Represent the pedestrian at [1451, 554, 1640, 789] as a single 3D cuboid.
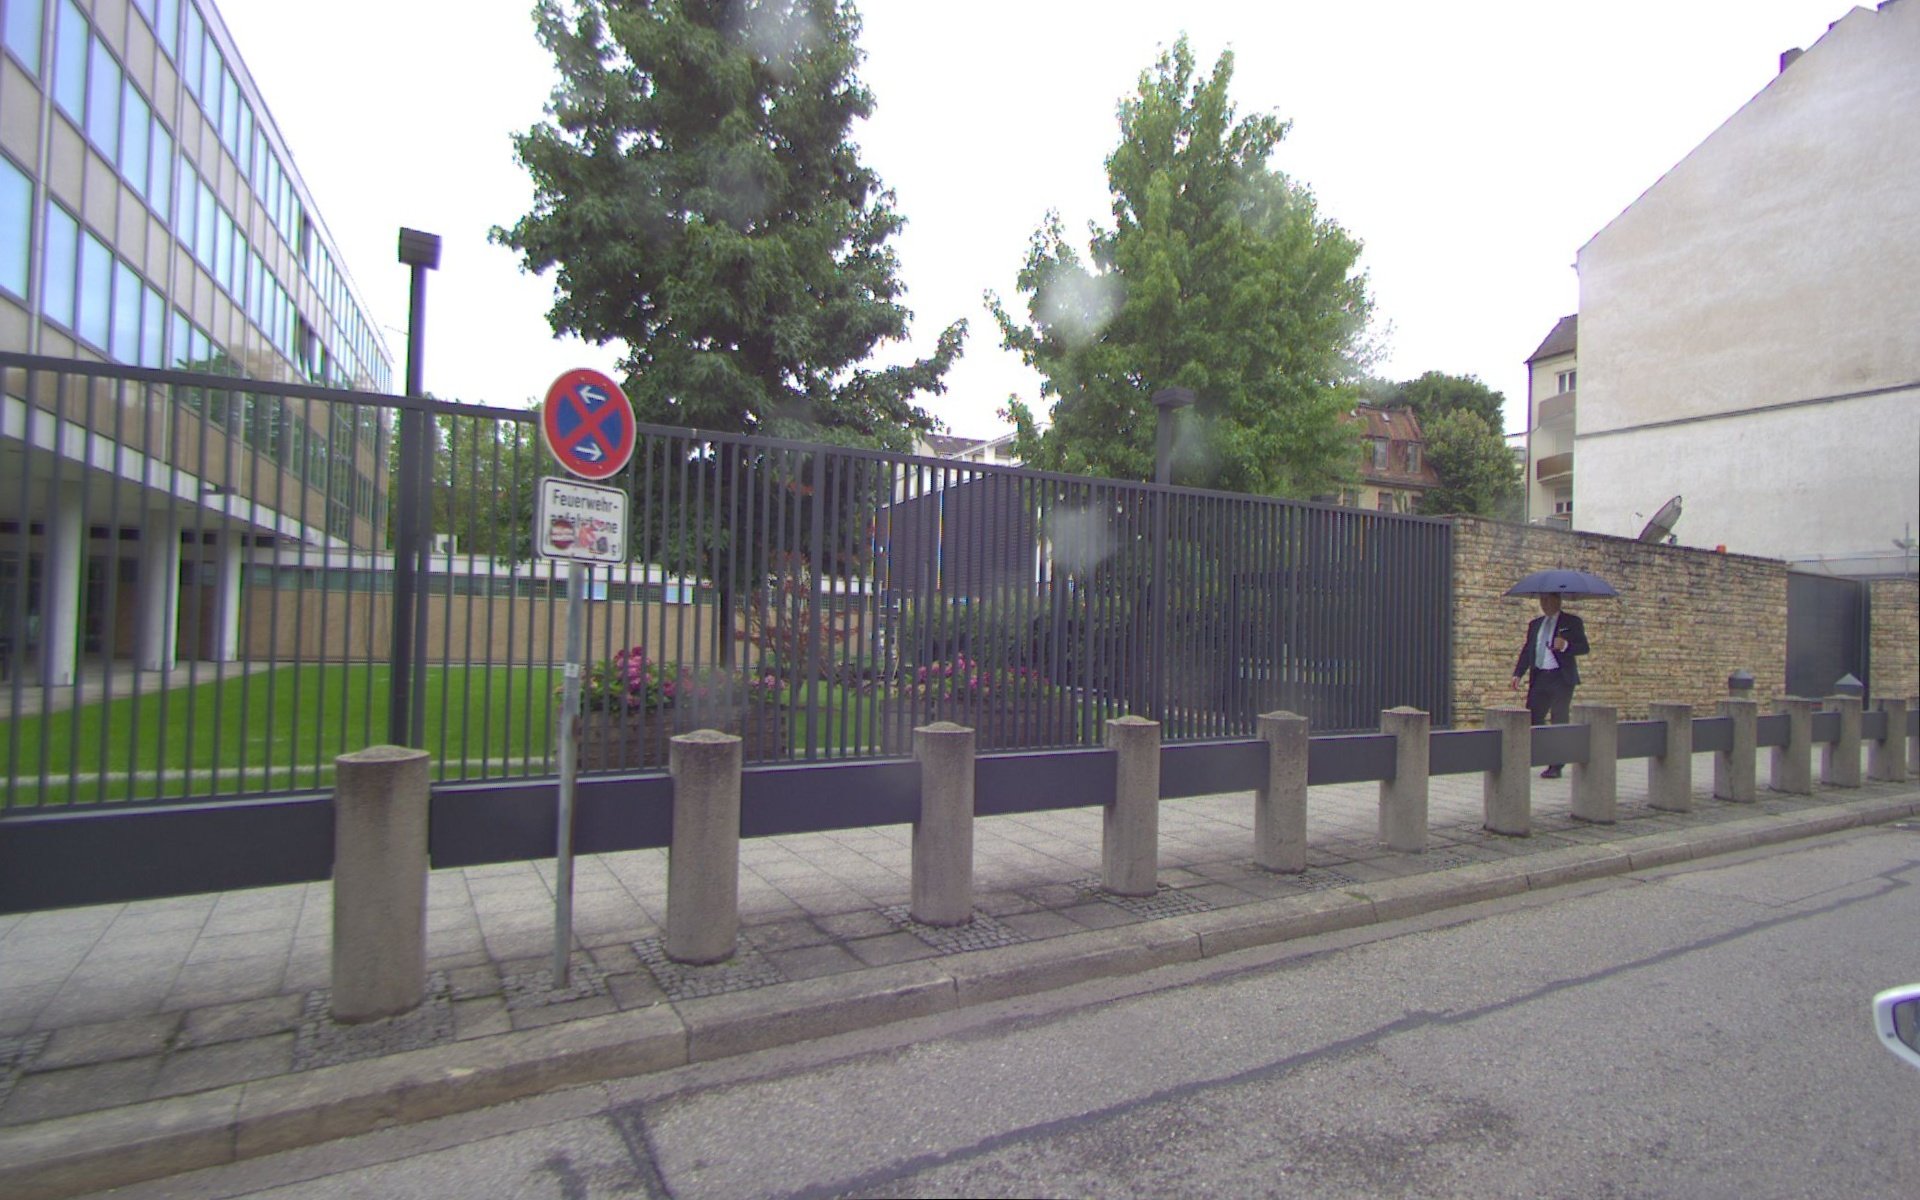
[{"bbox_3d":[5.774,0.670,9.947,1.102,2.132,1.218,1,-1,-28],"label":"pedestrian"}]
